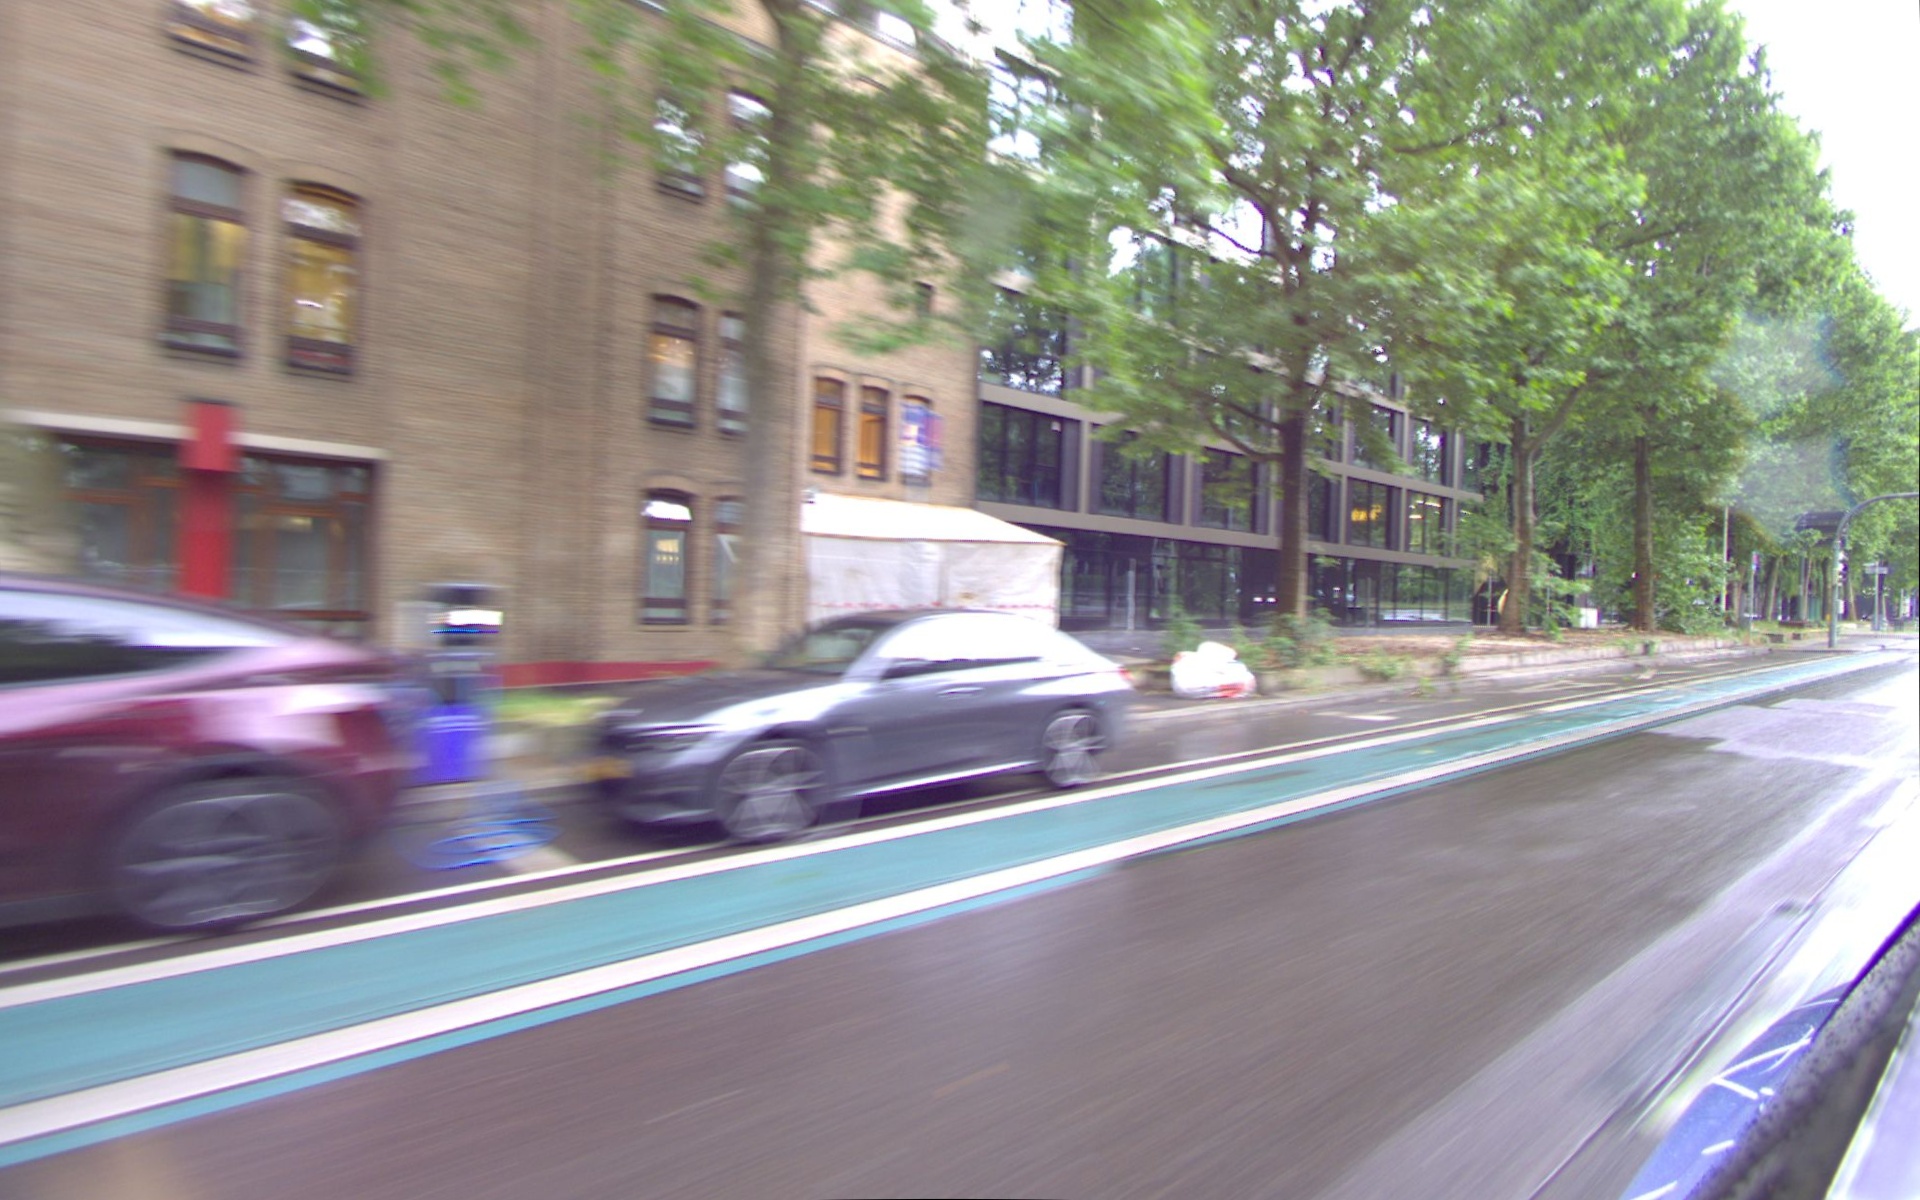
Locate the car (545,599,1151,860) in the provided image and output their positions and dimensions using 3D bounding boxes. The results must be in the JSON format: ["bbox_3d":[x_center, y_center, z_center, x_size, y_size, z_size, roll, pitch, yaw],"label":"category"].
[{"bbox_3d":[-0.606,0.720,7.818,4.507,1.451,1.745,0,0,-42],"label":"car"}]

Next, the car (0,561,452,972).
[{"bbox_3d":[-4.869,0.647,4.278,4.485,1.609,1.995,0,0,-45],"label":"car"}]
